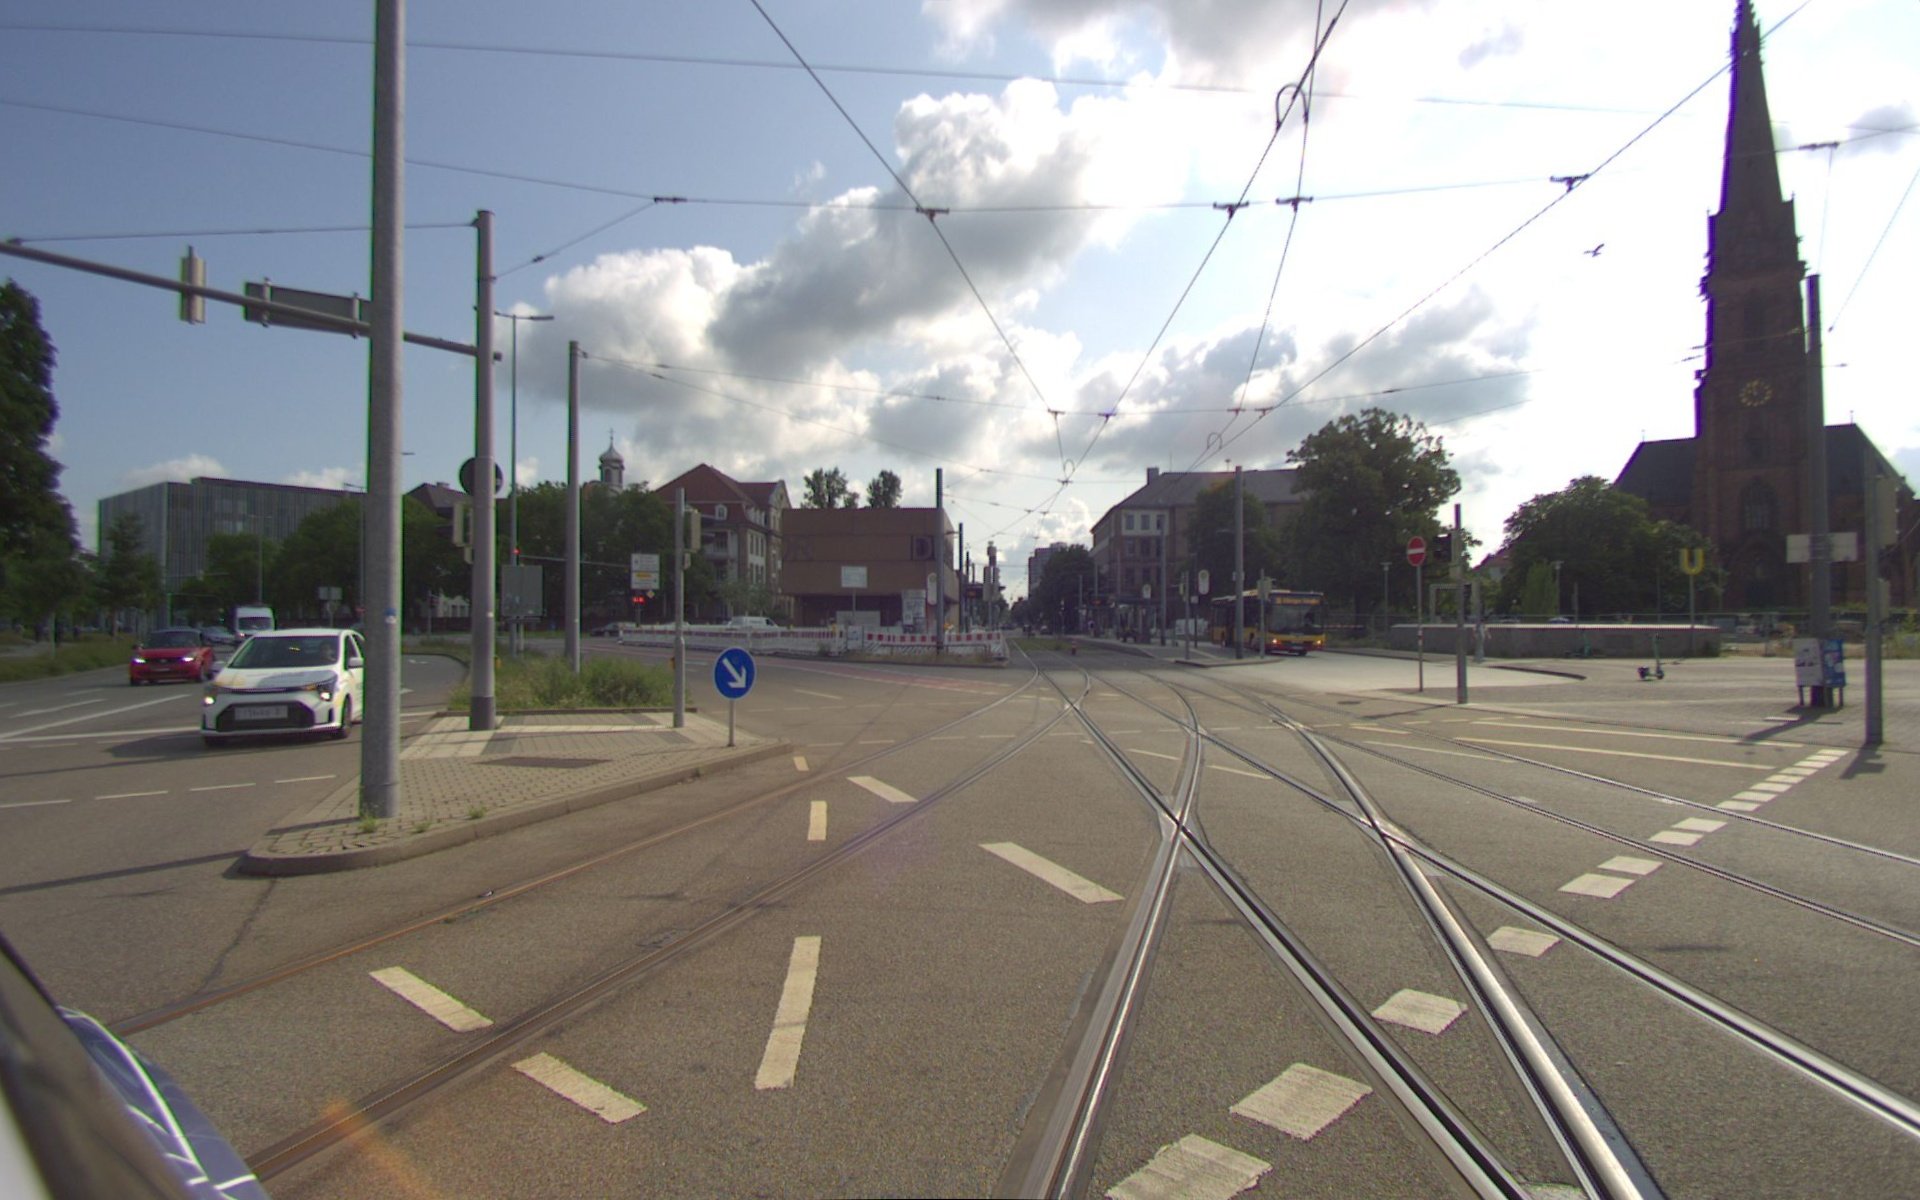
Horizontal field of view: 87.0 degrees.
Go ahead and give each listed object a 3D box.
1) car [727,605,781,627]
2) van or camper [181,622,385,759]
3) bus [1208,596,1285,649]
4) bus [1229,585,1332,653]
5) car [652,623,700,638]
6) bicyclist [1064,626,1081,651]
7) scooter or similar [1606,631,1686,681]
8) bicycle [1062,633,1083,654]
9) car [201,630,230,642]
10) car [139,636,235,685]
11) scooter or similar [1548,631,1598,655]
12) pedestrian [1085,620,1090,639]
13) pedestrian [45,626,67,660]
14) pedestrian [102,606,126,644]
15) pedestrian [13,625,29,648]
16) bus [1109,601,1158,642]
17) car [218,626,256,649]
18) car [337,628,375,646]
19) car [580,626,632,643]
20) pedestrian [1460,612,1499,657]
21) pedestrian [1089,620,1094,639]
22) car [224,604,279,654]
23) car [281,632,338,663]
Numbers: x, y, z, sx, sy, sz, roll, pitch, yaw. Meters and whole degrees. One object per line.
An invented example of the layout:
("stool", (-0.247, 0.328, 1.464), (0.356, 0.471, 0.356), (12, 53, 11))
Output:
("car", (-19.508, 1.528, 96.019), (1.995, 2.029, 5.015), (0, 0, 34))
("van or camper", (-9.382, 1.136, 14.352), (1.600, 1.486, 4.013), (-3, 1, -23))
("bus", (14.722, 1.156, 52.406), (2.665, 2.607, 5.074), (0, -1, 2))
("bus", (14.488, 0.879, 46.331), (2.664, 2.855, 7.094), (0, -1, 3))
("car", (-26.511, 2.839, 94.602), (1.756, 1.401, 4.079), (-1, -2, 36))
("bicyclist", (5.360, 1.845, 48.269), (0.687, 1.161, 0.738), (0, -3, 1))
("scooter or similar", (17.816, 1.437, 26.281), (1.471, 1.198, 1.341), (1, -1, -39))
("bicycle", (5.362, 2.082, 48.230), (0.801, 1.000, 2.069), (0, -3, 1))
("car", (-99.224, 4.790, 134.794), (5.095, 1.500, 1.933), (-2, -2, 39))
("car", (-22.633, 1.739, 29.743), (1.582, 1.223, 3.020), (0, 0, -24))
("scooter or similar", (24.513, 1.724, 40.489), (1.642, 0.957, 0.473), (-1, -2, 4))
("pedestrian", (11.079, 2.571, 88.114), (0.353, 1.614, 0.364), (0, -2, 2))
("pedestrian", (-55.124, 2.616, 61.717), (0.972, 2.029, 1.132), (1, -1, -41))
("pedestrian", (-46.124, 1.342, 55.156), (0.972, 2.029, 1.132), (1, -1, -41))
("pedestrian", (-83.124, 3.243, 89.619), (0.972, 2.029, 1.132), (1, -2, -41))
("bus", (16.156, 2.055, 95.228), (2.925, 3.534, 12.243), (0, -1, 2))
("car", (-56.507, 2.903, 79.066), (1.969, 1.785, 4.145), (1, -2, -42))
("car", (-59.022, 3.630, 98.834), (4.783, 1.580, 1.971), (0, -2, 44))
("car", (-30.936, 3.028, 88.569), (1.756, 1.401, 4.079), (-1, -2, 36))
("pedestrian", (20.897, 1.384, 40.715), (0.917, 1.702, 1.097), (-3, 2, 1))
("pedestrian", (11.463, 2.572, 88.072), (0.353, 1.614, 0.364), (0, -2, 2))
("car", (-43.348, 1.794, 62.062), (2.444, 2.901, 6.166), (1, -2, -32))
("car", (-31.015, 2.223, 48.365), (1.965, 1.291, 4.559), (1, 0, -29))
